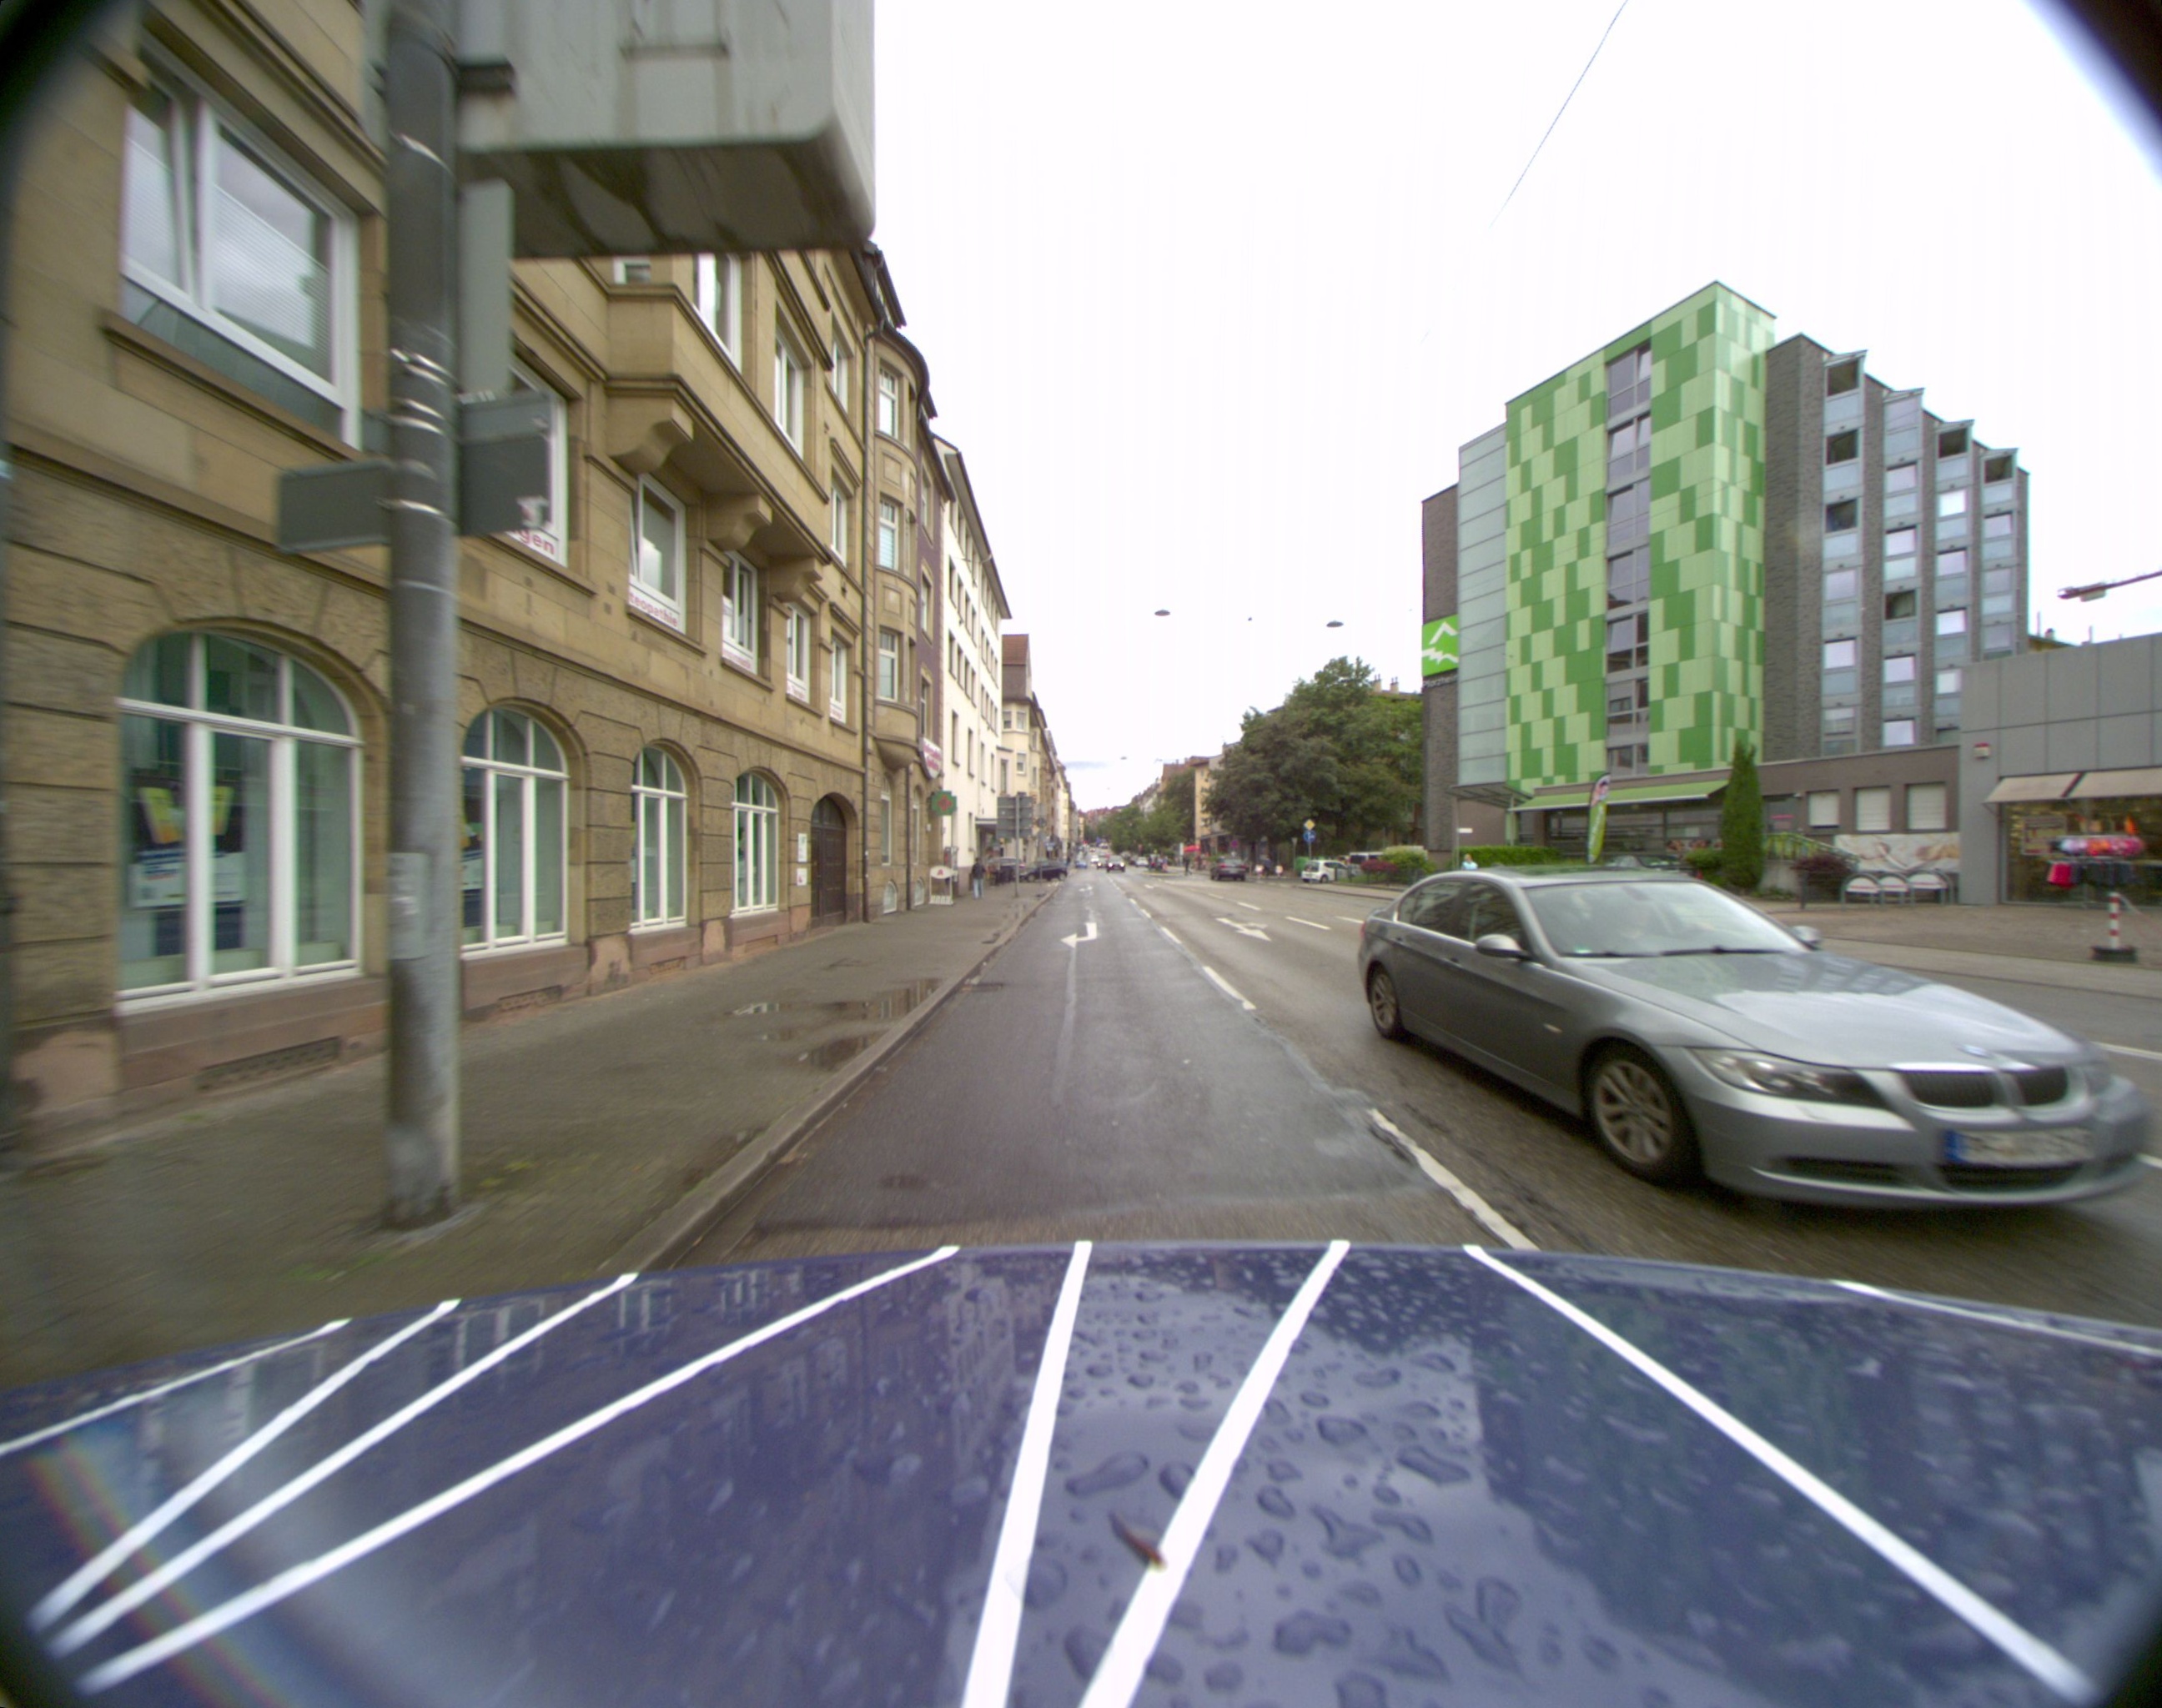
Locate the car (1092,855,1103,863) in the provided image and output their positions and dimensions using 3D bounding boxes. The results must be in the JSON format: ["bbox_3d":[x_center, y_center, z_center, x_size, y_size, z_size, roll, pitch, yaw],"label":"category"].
[{"bbox_3d":[3.298,0.962,152.508,1.960,1.547,4.243,1,0,-1],"label":"car"}]

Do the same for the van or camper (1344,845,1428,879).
[{"bbox_3d":[20.165,0.532,50.284,4.971,2.001,1.997,-2,-1,-19],"label":"van or camper"}]

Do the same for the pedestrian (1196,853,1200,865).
[{"bbox_3d":[13.538,0.552,87.927,0.434,1.402,0.481,-1,1,-3],"label":"pedestrian"}]

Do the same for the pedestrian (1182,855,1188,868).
[{"bbox_3d":[14.932,1.090,109.446,0.591,1.809,0.870,-1,1,-8],"label":"pedestrian"}]

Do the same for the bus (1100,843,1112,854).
[{"bbox_3d":[7.683,-1.746,234.205,2.812,3.228,11.958,3,1,-1],"label":"bus"}]

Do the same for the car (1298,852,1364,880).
[{"bbox_3d":[15.744,0.726,47.909,3.592,1.560,1.738,-3,0,-21],"label":"car"}]

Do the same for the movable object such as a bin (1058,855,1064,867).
[{"bbox_3d":[-3.036,1.088,114.988,1.002,1.783,1.296,0,1,-2],"label":"movable object such as a bin"}]

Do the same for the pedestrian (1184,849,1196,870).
[{"bbox_3d":[9.675,0.504,67.690,0.863,1.834,0.693,-1,1,-14],"label":"pedestrian"}]

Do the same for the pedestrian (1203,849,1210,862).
[{"bbox_3d":[16.578,0.194,100.127,0.711,1.668,0.801,-1,0,28],"label":"pedestrian"}]

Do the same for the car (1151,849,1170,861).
[{"bbox_3d":[10.290,0.151,98.219,2.019,1.417,4.500,-1,0,0],"label":"car"}]

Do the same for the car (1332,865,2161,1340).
[{"bbox_3d":[3.236,0.835,4.667,1.804,1.455,4.370,-2,0,-2],"label":"car"}]

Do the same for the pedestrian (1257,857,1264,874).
[{"bbox_3d":[12.892,0.831,54.701,0.410,1.191,0.311,-1,0,-6],"label":"pedestrian"}]

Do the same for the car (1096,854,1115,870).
[{"bbox_3d":[3.195,1.051,99.421,1.999,2.001,3.999,-1,0,-4],"label":"car"}]

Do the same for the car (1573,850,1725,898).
[{"bbox_3d":[18.340,0.597,24.857,1.997,1.430,4.655,-1,0,8],"label":"car"}]

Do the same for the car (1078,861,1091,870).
[{"bbox_3d":[0.513,1.730,115.714,1.739,1.302,3.766,-1,-1,-3],"label":"car"}]

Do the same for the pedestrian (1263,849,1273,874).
[{"bbox_3d":[13.472,0.534,54.770,0.575,1.752,0.581,-1,0,-6],"label":"pedestrian"}]

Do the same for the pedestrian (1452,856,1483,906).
[{"bbox_3d":[13.204,0.906,25.975,0.749,1.675,0.752,0,0,-44],"label":"pedestrian"}]

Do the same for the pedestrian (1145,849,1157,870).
[{"bbox_3d":[6.069,0.497,66.142,0.724,1.815,0.853,-1,0,-22],"label":"pedestrian"}]

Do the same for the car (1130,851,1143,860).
[{"bbox_3d":[9.911,0.218,136.734,1.960,1.547,4.243,1,0,-1],"label":"car"}]

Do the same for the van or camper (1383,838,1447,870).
[{"bbox_3d":[26.649,-0.008,60.589,4.624,2.253,2.207,-3,0,-29],"label":"van or camper"}]

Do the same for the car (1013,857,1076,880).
[{"bbox_3d":[-2.527,0.978,52.365,3.985,1.538,1.732,0,1,-18],"label":"car"}]

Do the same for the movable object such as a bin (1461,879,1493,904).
[{"bbox_3d":[13.197,1.245,25.326,0.735,0.784,0.752,-1,1,-44],"label":"movable object such as a bin"}]

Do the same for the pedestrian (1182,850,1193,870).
[{"bbox_3d":[9.589,0.554,68.514,0.657,1.748,0.720,-1,1,-20],"label":"pedestrian"}]

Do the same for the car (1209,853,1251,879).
[{"bbox_3d":[9.989,0.780,51.094,1.953,1.649,4.056,-1,0,-1],"label":"car"}]

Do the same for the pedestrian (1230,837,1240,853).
[{"bbox_3d":[18.184,-1.092,89.714,0.724,1.815,0.720,-1,0,-27],"label":"pedestrian"}]

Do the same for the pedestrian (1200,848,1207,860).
[{"bbox_3d":[16.320,0.021,101.145,0.715,1.668,0.713,-1,0,0],"label":"pedestrian"}]

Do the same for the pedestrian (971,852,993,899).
[{"bbox_3d":[-3.709,0.795,28.436,0.674,1.710,0.901,-1,0,1],"label":"pedestrian"}]

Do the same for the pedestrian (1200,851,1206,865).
[{"bbox_3d":[14.069,0.449,87.781,0.499,1.663,0.552,-1,1,-3],"label":"pedestrian"}]

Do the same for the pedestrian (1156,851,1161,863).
[{"bbox_3d":[13.211,0.452,128.947,0.703,2.002,0.782,-1,1,-3],"label":"pedestrian"}]

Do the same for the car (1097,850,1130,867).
[{"bbox_3d":[3.347,0.510,78.630,1.859,1.646,4.197,-1,-1,-22],"label":"car"}]

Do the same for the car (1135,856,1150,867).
[{"bbox_3d":[9.476,1.118,117.083,1.824,1.560,4.089,1,0,-1],"label":"car"}]

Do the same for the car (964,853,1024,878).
[{"bbox_3d":[-6.321,0.820,54.917,4.152,1.761,1.871,-1,0,-10],"label":"car"}]

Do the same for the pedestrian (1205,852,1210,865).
[{"bbox_3d":[14.619,0.477,87.655,0.461,1.465,0.530,-1,1,-3],"label":"pedestrian"}]
